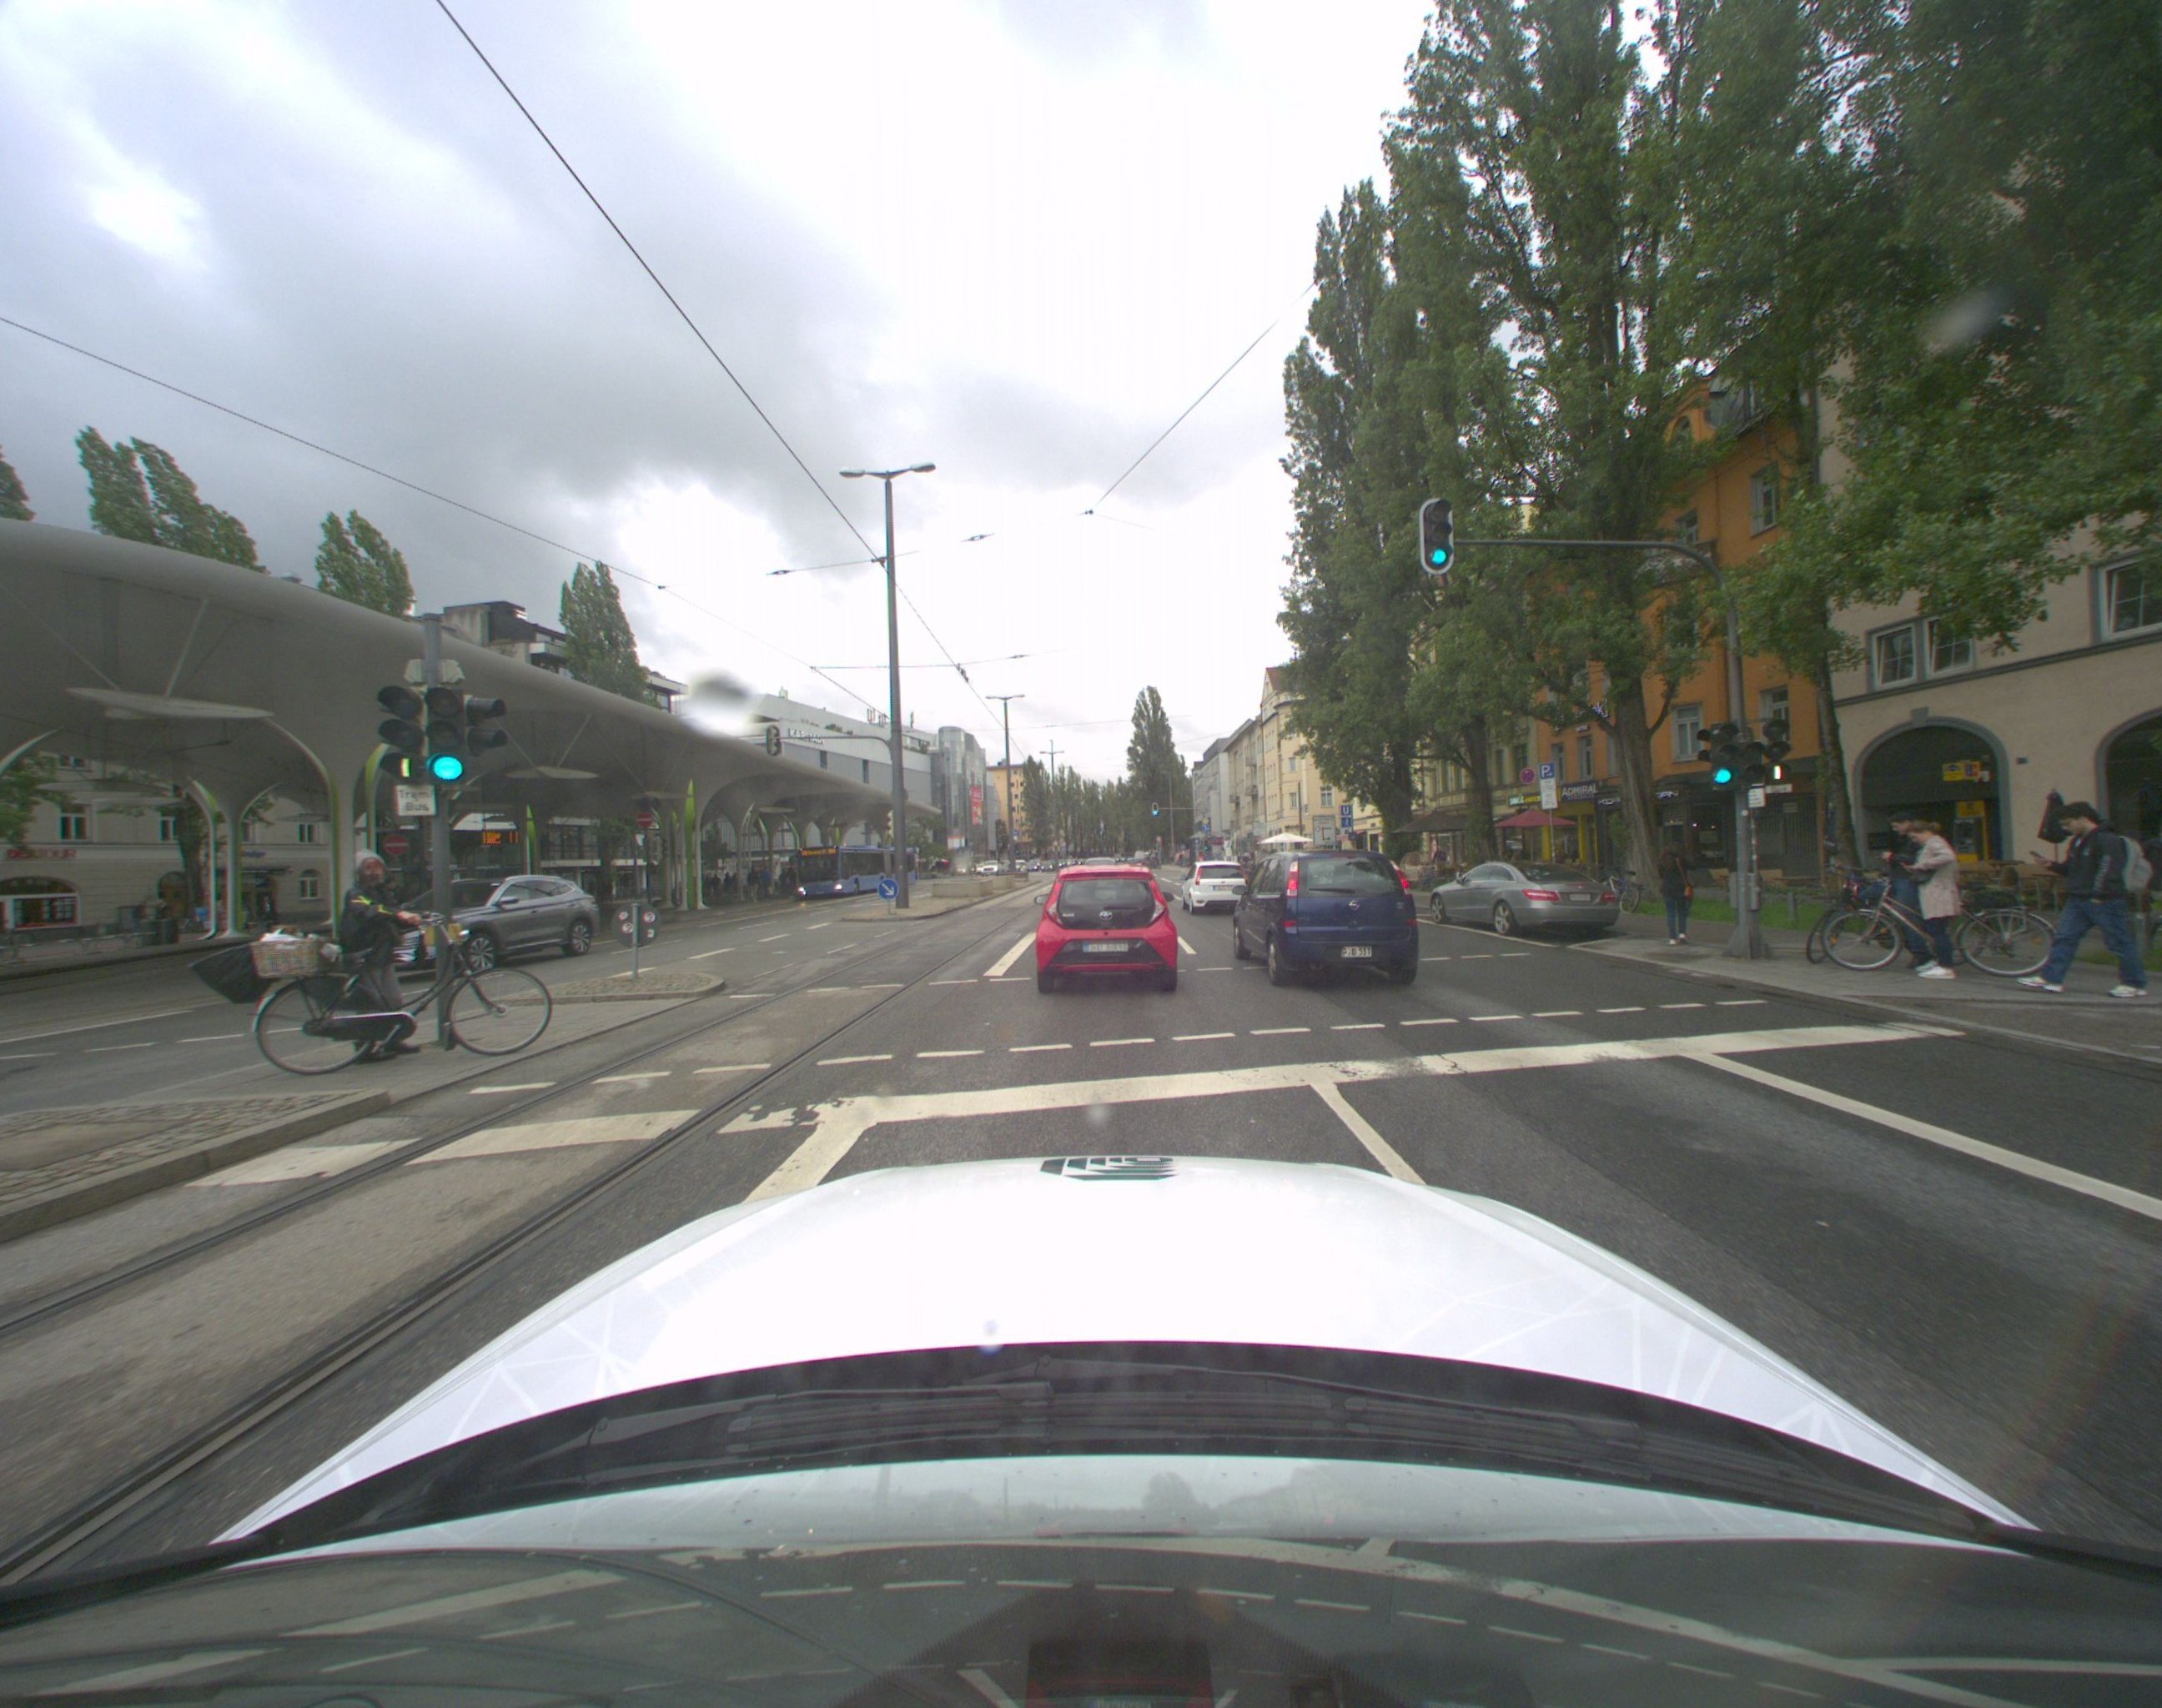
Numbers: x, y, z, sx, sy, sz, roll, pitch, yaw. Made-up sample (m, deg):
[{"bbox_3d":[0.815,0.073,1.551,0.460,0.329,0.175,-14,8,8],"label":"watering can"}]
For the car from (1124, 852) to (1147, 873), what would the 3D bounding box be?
[{"bbox_3d":[5.229,0.825,78.154,1.986,1.838,4.002,-2,0,2],"label":"car"}]

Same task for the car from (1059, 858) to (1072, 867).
[{"bbox_3d":[-2.969,1.616,156.962,1.734,1.670,4.739,-3,0,5],"label":"car"}]

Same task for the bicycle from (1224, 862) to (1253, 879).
[{"bbox_3d":[9.816,1.050,50.901,1.818,0.996,0.350,-4,-1,41],"label":"bicycle"}]

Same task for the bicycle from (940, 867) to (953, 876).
[{"bbox_3d":[-17.274,2.286,104.649,1.566,1.112,0.374,-2,0,5],"label":"bicycle"}]

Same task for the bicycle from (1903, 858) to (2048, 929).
[{"bbox_3d":[14.707,0.646,13.408,1.790,1.109,0.447,-1,0,3],"label":"bicycle"}]

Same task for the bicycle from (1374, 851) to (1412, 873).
[{"bbox_3d":[15.436,0.410,40.298,1.711,1.045,0.389,-1,1,12],"label":"bicycle"}]

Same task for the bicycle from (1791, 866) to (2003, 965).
[{"bbox_3d":[9.695,0.724,9.766,1.722,1.102,0.361,-3,-1,36],"label":"bicycle"}]

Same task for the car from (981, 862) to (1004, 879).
[{"bbox_3d":[-10.784,1.965,99.586,2.168,1.887,6.155,-2,0,0],"label":"car"}]

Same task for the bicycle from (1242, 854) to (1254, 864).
[{"bbox_3d":[18.805,0.604,91.610,0.495,1.059,1.858,-2,0,-13],"label":"bicycle"}]

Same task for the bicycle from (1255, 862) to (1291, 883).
[{"bbox_3d":[9.634,0.929,40.962,1.819,0.995,0.327,-1,1,44],"label":"bicycle"}]

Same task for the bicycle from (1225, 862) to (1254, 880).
[{"bbox_3d":[9.745,1.048,50.238,0.350,0.996,1.819,-2,-1,-45],"label":"bicycle"}]

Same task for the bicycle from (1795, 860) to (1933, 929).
[{"bbox_3d":[12.896,0.652,13.430,1.790,1.109,0.447,0,0,3],"label":"bicycle"}]

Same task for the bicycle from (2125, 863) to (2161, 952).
[{"bbox_3d":[13.545,0.620,9.722,1.565,1.050,0.392,-1,-1,2],"label":"bicycle"}]

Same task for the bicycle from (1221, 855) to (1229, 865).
[{"bbox_3d":[16.070,0.628,91.153,0.564,1.108,1.867,-2,0,2],"label":"bicycle"}]

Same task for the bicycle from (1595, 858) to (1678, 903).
[{"bbox_3d":[14.859,0.706,21.800,1.882,1.113,0.458,-2,-1,-2],"label":"bicycle"}]

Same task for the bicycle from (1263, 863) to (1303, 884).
[{"bbox_3d":[9.638,0.920,38.841,1.818,0.995,0.327,-1,1,34],"label":"bicycle"}]

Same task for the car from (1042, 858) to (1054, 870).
[{"bbox_3d":[-4.498,1.351,110.309,1.541,1.445,3.536,-2,0,-2],"label":"car"}]

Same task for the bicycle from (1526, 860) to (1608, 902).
[{"bbox_3d":[12.995,0.712,21.791,1.882,1.054,0.458,-2,-1,-2],"label":"bicycle"}]

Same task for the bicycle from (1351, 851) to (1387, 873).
[{"bbox_3d":[14.549,0.417,41.173,1.719,1.045,0.387,-2,1,-5],"label":"bicycle"}]

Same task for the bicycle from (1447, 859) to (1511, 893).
[{"bbox_3d":[13.319,0.739,27.283,1.879,1.054,0.459,-2,-1,3],"label":"bicycle"}]

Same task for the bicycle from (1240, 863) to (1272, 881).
[{"bbox_3d":[9.855,1.031,45.932,1.818,0.995,0.327,-1,1,42],"label":"bicycle"}]

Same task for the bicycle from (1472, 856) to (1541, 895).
[{"bbox_3d":[13.787,0.690,26.409,1.879,1.174,0.582,-2,-1,3],"label":"bicycle"}]

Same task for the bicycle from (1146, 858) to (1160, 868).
[{"bbox_3d":[9.330,1.182,105.953,1.781,1.158,0.490,-2,0,32],"label":"bicycle"}]

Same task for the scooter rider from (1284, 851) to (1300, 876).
[{"bbox_3d":[11.926,0.529,45.975,0.698,1.389,0.643,-2,-1,0],"label":"scooter rider"}]

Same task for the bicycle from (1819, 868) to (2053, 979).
[{"bbox_3d":[9.383,0.736,9.020,0.361,1.102,1.724,-2,-1,-43],"label":"bicycle"}]

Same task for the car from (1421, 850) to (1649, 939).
[{"bbox_3d":[8.766,0.710,16.283,1.987,1.440,4.528,-2,0,0],"label":"car"}]

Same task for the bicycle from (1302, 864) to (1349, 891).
[{"bbox_3d":[9.348,0.892,31.176,0.377,0.995,1.821,-2,1,-37],"label":"bicycle"}]

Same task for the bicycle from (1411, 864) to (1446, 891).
[{"bbox_3d":[12.484,0.836,29.308,0.455,0.892,1.894,-2,0,1],"label":"bicycle"}]

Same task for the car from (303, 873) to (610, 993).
[{"bbox_3d":[-10.970,1.265,14.877,1.857,1.638,4.678,-4,0,1],"label":"car"}]

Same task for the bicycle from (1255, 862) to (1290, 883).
[{"bbox_3d":[9.511,0.927,40.522,0.327,0.995,1.820,-2,1,-42],"label":"bicycle"}]

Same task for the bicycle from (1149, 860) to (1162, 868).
[{"bbox_3d":[9.252,1.237,101.089,0.502,1.028,1.582,-2,0,-40],"label":"bicycle"}]

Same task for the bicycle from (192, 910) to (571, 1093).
[{"bbox_3d":[-5.403,1.086,6.510,2.240,1.150,0.501,0,-1,-33],"label":"bicycle"}]

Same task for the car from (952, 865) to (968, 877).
[{"bbox_3d":[-16.866,2.327,113.583,1.994,1.536,4.398,-3,0,-11],"label":"car"}]

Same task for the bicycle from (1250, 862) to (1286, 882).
[{"bbox_3d":[9.715,0.934,42.325,1.818,0.995,0.327,-1,1,38],"label":"bicycle"}]

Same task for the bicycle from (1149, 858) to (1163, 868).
[{"bbox_3d":[9.353,1.148,101.748,0.562,1.198,1.782,-2,0,-45],"label":"bicycle"}]

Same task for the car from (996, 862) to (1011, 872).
[{"bbox_3d":[-10.714,1.797,112.833,1.667,1.378,4.613,-2,0,0],"label":"car"}]

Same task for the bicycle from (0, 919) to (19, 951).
[{"bbox_3d":[-46.108,3.439,33.422,0.831,1.314,2.959,-3,0,25],"label":"bicycle"}]

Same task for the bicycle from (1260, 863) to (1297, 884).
[{"bbox_3d":[9.561,0.923,39.494,1.819,0.995,0.327,-1,1,44],"label":"bicycle"}]

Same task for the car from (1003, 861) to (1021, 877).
[{"bbox_3d":[-8.698,1.875,102.776,1.781,1.855,4.216,-3,0,-1],"label":"car"}]

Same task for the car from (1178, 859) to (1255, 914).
[{"bbox_3d":[3.809,0.878,23.327,1.693,1.426,3.498,-1,0,1],"label":"car"}]

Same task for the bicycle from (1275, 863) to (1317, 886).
[{"bbox_3d":[9.507,0.910,36.062,1.818,0.995,0.378,-1,1,39],"label":"bicycle"}]

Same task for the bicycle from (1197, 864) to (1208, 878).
[{"bbox_3d":[11.189,1.577,75.118,0.612,1.265,2.519,-3,0,0],"label":"bicycle"}]

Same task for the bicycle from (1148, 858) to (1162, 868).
[{"bbox_3d":[9.343,1.149,103.142,1.781,1.158,0.551,-2,0,40],"label":"bicycle"}]

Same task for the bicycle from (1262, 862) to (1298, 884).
[{"bbox_3d":[9.727,0.924,39.899,0.327,0.995,1.820,-2,1,-41],"label":"bicycle"}]

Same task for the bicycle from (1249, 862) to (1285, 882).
[{"bbox_3d":[9.797,0.936,42.926,1.818,0.995,0.327,-1,1,38],"label":"bicycle"}]

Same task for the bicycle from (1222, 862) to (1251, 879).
[{"bbox_3d":[9.835,1.052,51.556,1.818,0.996,0.350,-4,-1,41],"label":"bicycle"}]

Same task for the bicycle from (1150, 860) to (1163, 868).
[{"bbox_3d":[9.299,1.235,100.232,0.502,1.028,1.582,-2,0,-40],"label":"bicycle"}]

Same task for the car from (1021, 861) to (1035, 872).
[{"bbox_3d":[-7.612,1.760,116.853,1.672,1.395,4.232,-2,0,0],"label":"car"}]

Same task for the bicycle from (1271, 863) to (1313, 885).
[{"bbox_3d":[9.704,0.913,37.510,1.819,0.995,0.377,-1,1,25],"label":"bicycle"}]

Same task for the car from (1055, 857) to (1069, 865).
[{"bbox_3d":[-3.385,1.191,148.126,1.984,1.412,4.174,1,0,6],"label":"car"}]

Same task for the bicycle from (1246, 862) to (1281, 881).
[{"bbox_3d":[9.777,0.939,43.696,1.818,0.995,0.327,-1,1,38],"label":"bicycle"}]

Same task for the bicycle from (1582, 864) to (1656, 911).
[{"bbox_3d":[12.082,0.736,18.342,0.587,0.965,1.654,-2,0,2],"label":"bicycle"}]

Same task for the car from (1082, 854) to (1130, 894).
[{"bbox_3d":[1.108,0.862,36.746,1.986,1.618,4.001,-2,0,1],"label":"car"}]

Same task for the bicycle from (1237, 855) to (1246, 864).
[{"bbox_3d":[17.970,0.614,91.345,0.493,1.059,1.864,-2,0,-2],"label":"bicycle"}]
